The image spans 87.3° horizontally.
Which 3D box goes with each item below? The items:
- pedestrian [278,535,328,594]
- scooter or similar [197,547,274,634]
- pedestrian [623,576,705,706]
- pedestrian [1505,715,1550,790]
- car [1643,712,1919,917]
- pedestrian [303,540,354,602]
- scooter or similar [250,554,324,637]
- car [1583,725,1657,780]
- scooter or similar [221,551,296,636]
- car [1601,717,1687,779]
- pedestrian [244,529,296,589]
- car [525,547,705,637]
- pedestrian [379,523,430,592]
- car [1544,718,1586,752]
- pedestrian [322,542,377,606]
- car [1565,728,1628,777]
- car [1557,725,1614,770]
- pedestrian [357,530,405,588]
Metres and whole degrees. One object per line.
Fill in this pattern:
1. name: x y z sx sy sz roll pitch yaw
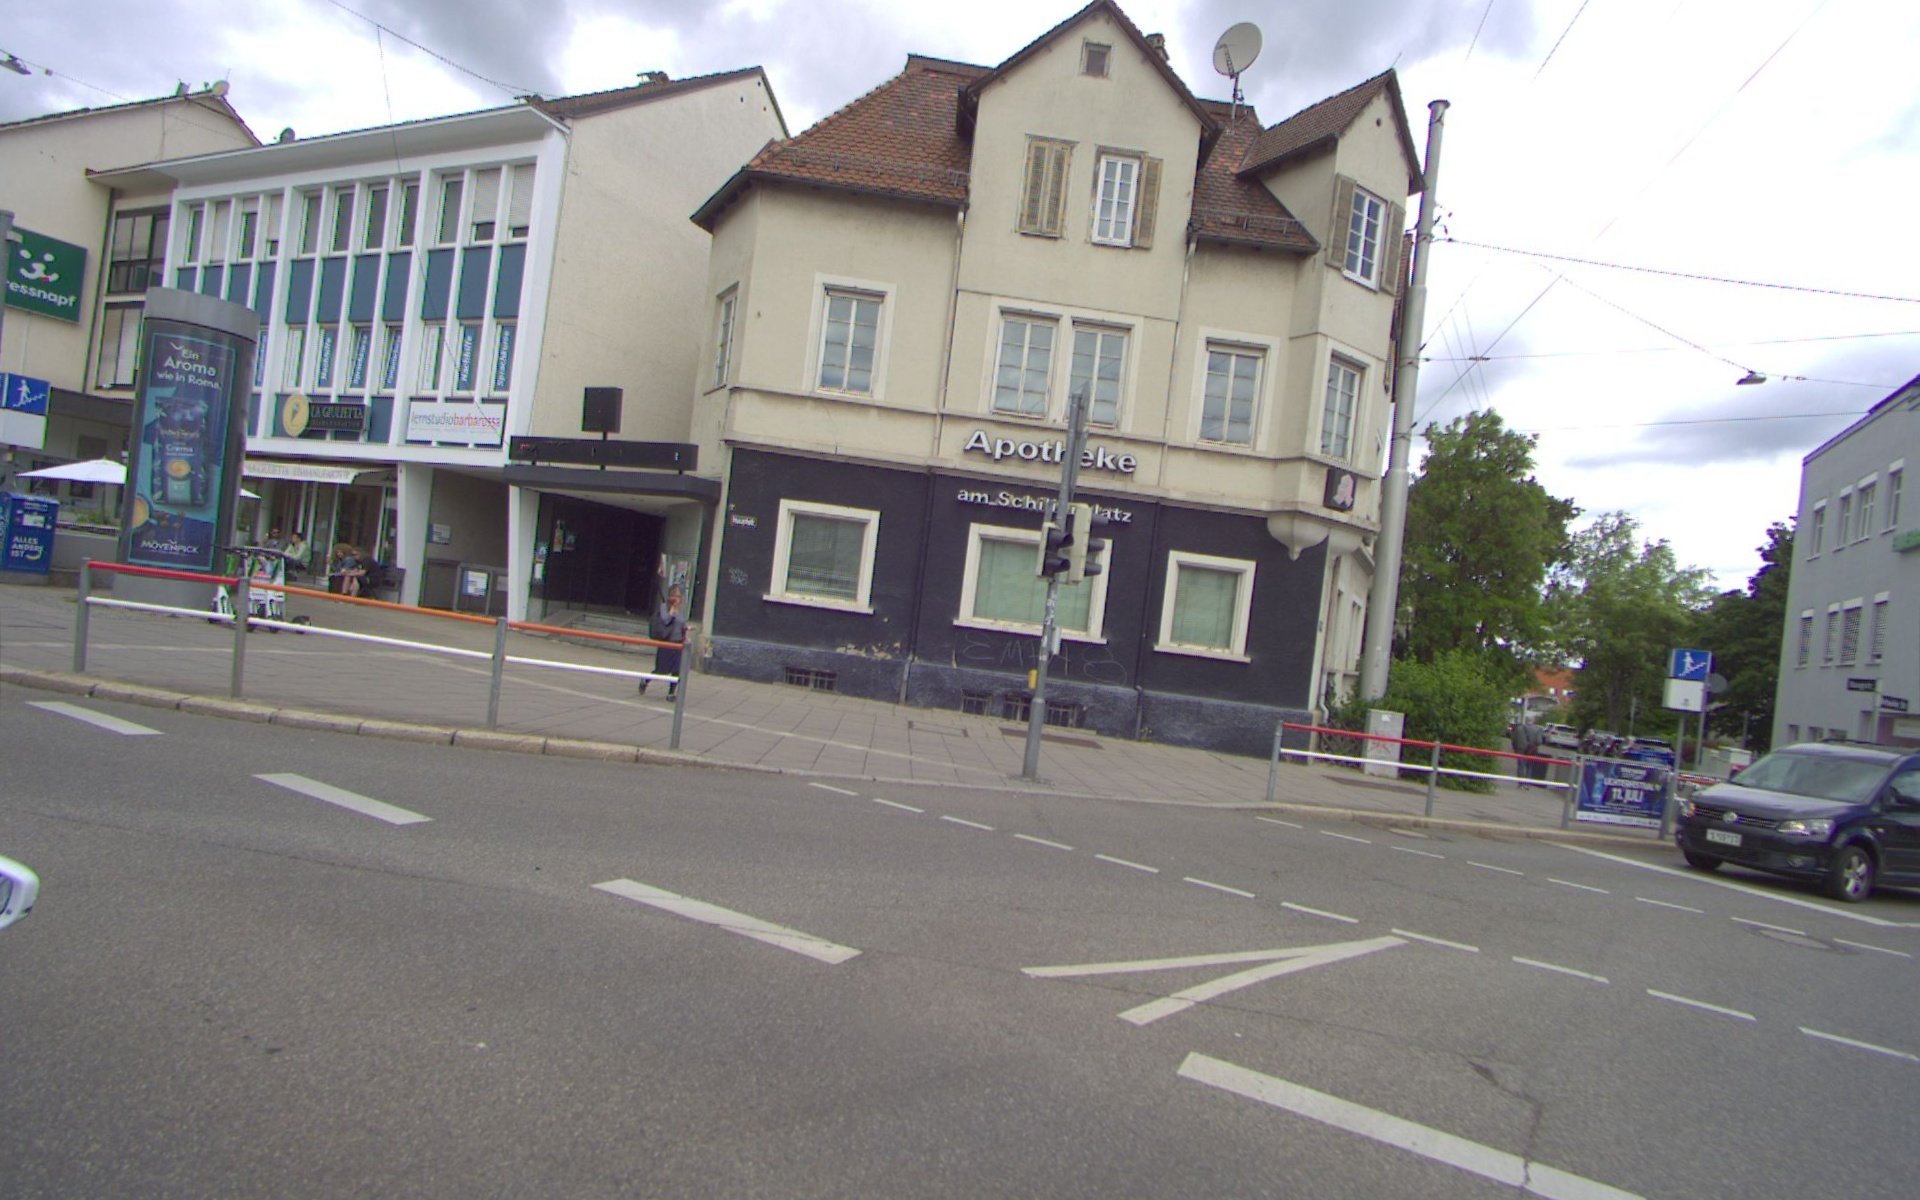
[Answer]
1. pedestrian: -15.161 -0.813 23.217 0.577 1.234 0.615 8 0 23
2. scooter or similar: -10.803 -0.152 14.986 1.187 1.146 0.315 7 0 27
3. pedestrian: -4.025 0.563 13.721 0.732 1.639 0.588 9 -2 -6
4. pedestrian: 13.535 3.626 24.007 0.677 1.654 0.592 7 0 24
5. car: 11.126 2.683 12.429 4.860 1.917 1.872 8 -1 -21
6. pedestrian: -13.571 -0.621 21.635 0.577 1.235 0.614 8 1 23
7. scooter or similar: -10.478 -0.069 15.658 1.187 1.146 0.315 7 0 27
8. car: 27.691 6.363 42.353 1.847 1.824 4.230 7 -2 26
9. scooter or similar: -10.686 -0.101 15.314 1.187 1.146 0.315 7 0 27
10. car: 25.607 5.489 37.808 1.847 1.824 4.230 7 -2 26
11. pedestrian: -15.915 -0.940 23.217 0.577 1.233 0.616 8 -3 23
12. car: -8.483 -0.134 25.063 1.705 1.685 3.976 7 -2 29
13. pedestrian: -12.944 -0.989 23.465 0.577 1.476 0.615 8 -3 25
14. car: 40.659 9.037 67.664 1.847 1.824 4.230 7 -2 26
15. pedestrian: -12.997 -0.549 21.414 0.577 1.233 0.616 8 -3 23
16. car: 29.872 7.120 47.328 1.847 1.824 4.230 7 -2 26
17. car: 32.067 7.514 51.679 1.847 1.824 4.230 7 -2 26
18. pedestrian: -13.765 -0.962 23.921 0.577 1.233 0.615 8 -3 25
